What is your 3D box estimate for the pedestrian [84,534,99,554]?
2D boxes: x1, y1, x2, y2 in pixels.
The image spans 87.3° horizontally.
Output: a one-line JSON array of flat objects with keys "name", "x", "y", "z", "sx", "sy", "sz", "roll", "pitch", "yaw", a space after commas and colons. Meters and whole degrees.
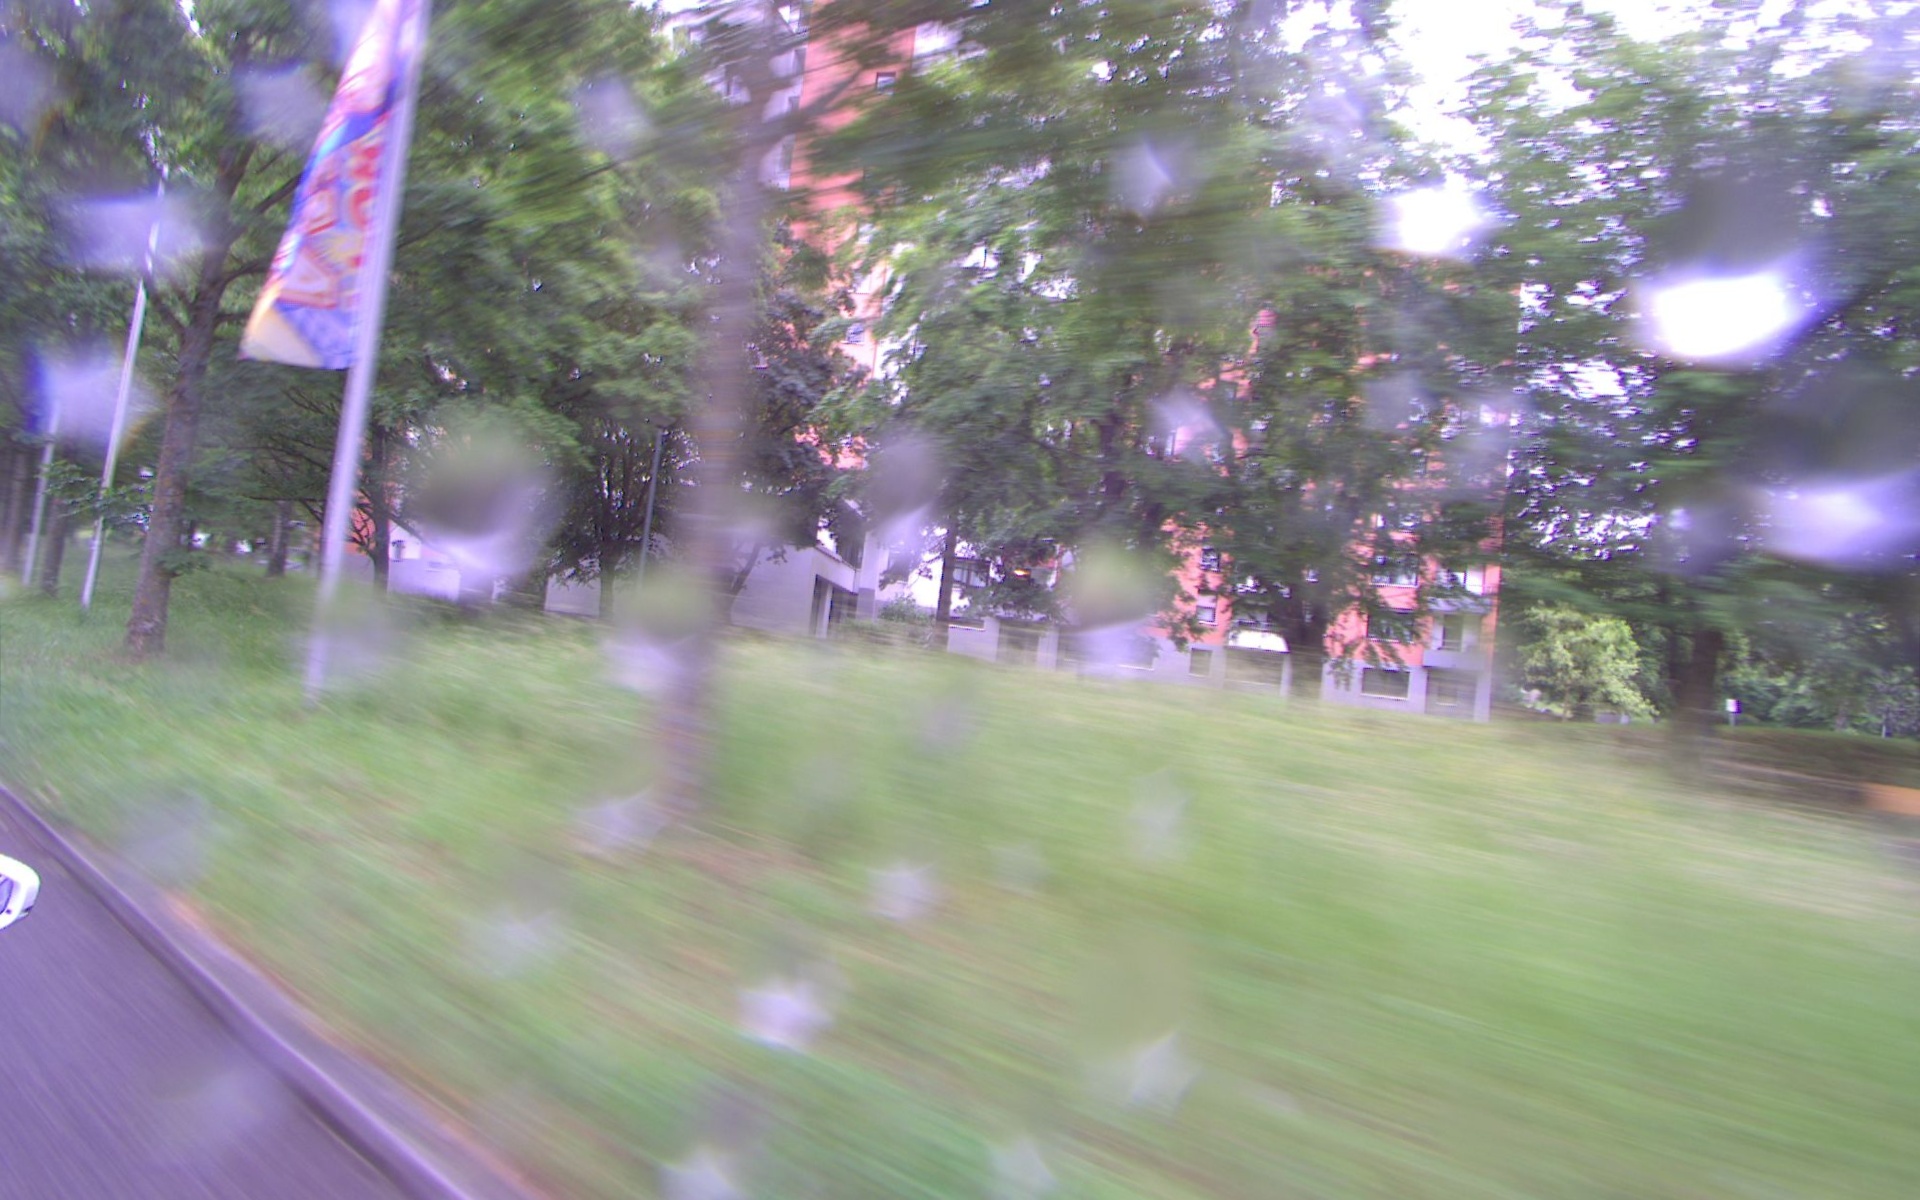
[{"name": "pedestrian", "x": -61.539, "y": -3.981, "z": 71.259, "sx": 0.617, "sy": 1.299, "sz": 0.653, "roll": 5, "pitch": -2, "yaw": 44}]
